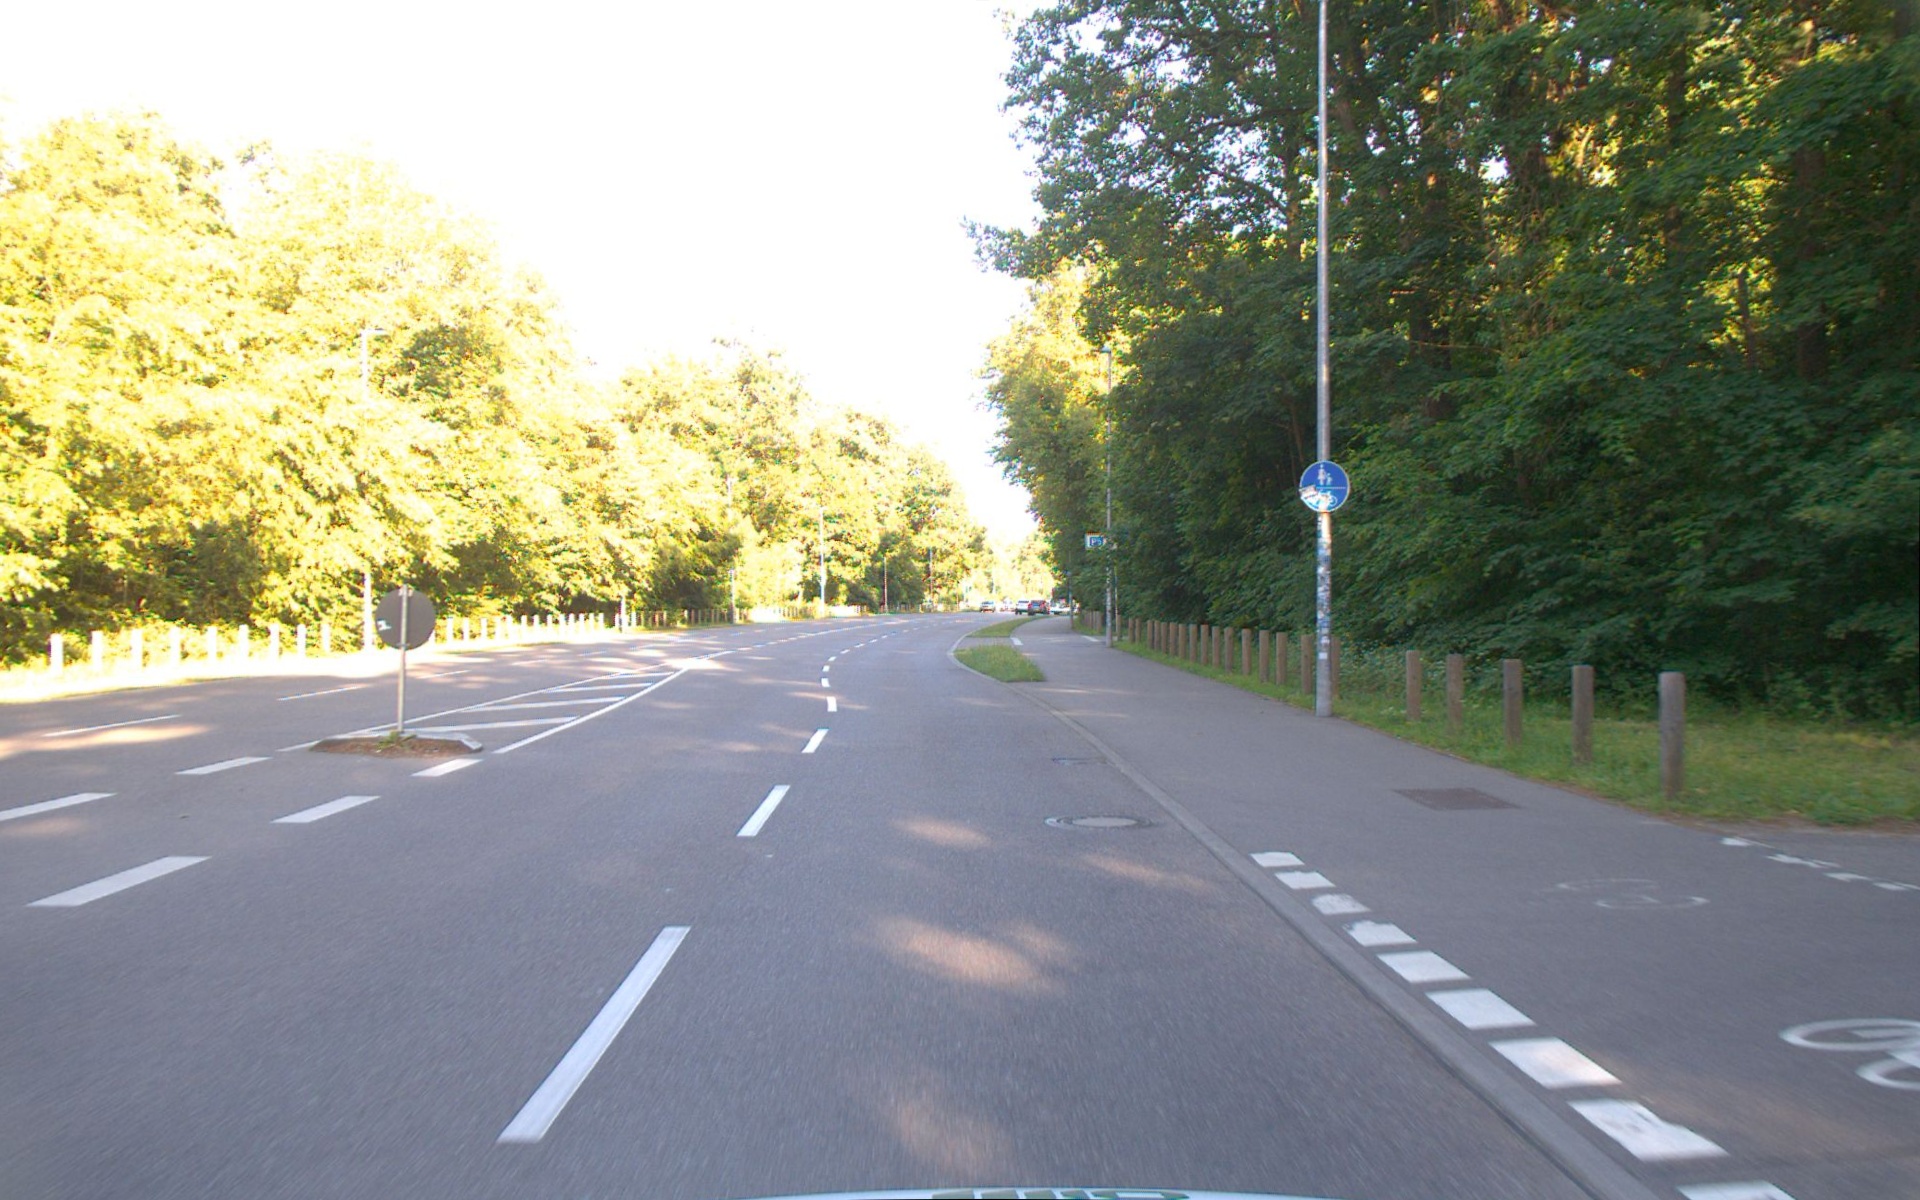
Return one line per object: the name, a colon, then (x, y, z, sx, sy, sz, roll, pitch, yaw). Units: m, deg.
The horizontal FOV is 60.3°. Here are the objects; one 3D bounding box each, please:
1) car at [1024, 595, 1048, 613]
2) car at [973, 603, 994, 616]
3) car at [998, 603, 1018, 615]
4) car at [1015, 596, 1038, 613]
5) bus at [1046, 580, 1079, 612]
car: (7.651, 0.387, 165.887, 1.840, 1.796, 4.004, -1, 0, 11)
car: (2.807, 1.059, 194.773, 1.741, 1.433, 4.169, 0, 1, 11)
car: (6.213, 1.192, 214.618, 1.742, 1.489, 4.277, 1, 0, 14)
car: (7.048, 0.467, 175.521, 1.840, 1.739, 4.004, -1, 0, 11)
bus: (11.427, -0.439, 183.462, 2.549, 3.427, 7.982, 0, 0, 11)
